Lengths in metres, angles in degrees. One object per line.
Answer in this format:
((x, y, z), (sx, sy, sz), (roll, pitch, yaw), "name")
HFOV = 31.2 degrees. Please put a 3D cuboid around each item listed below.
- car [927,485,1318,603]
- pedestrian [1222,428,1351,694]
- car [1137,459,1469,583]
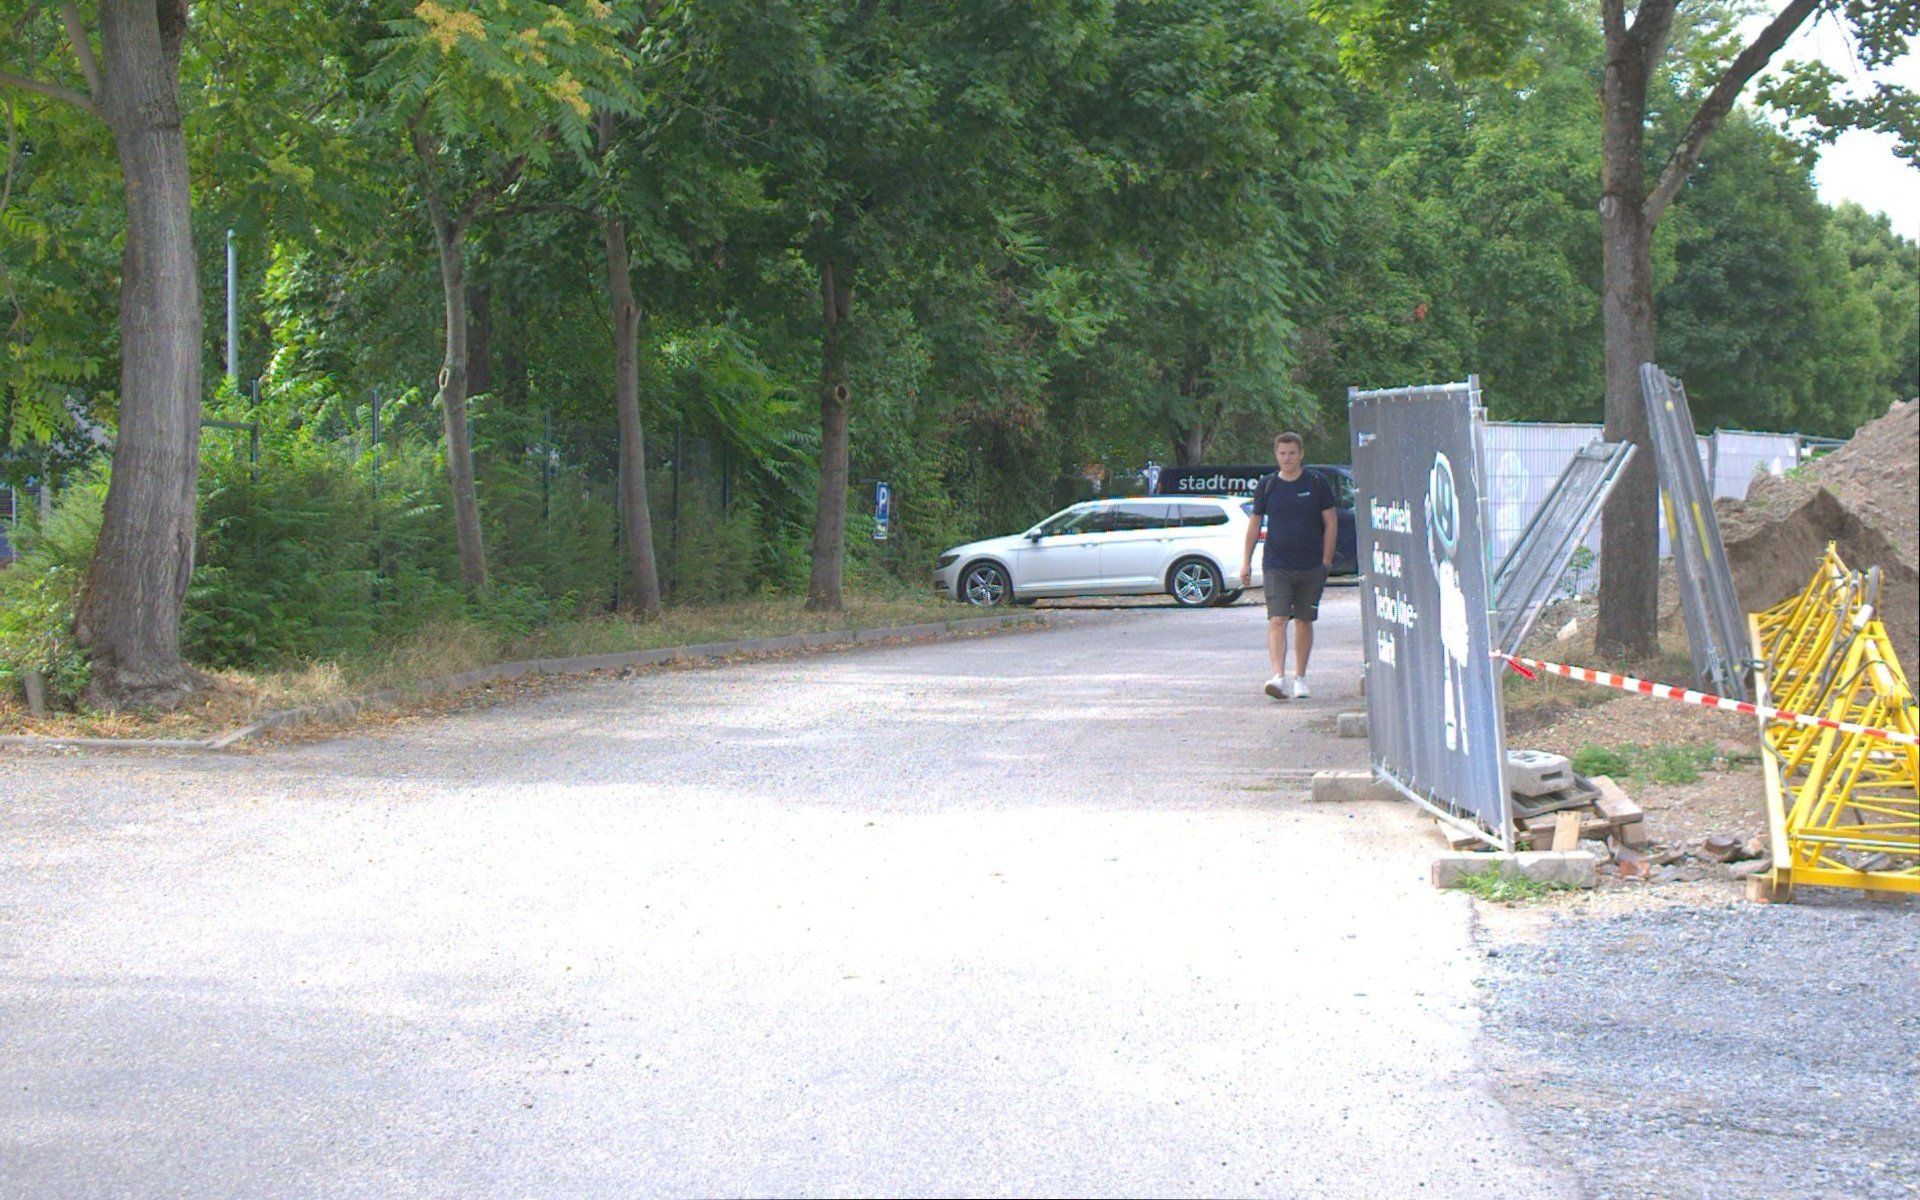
((2.153, -0.762, 45.152), (4.796, 1.483, 1.999), (1, 2, 16), "car")
((2.239, -0.273, 23.500), (0.748, 1.783, 0.730), (1, 2, 16), "pedestrian")
((5.596, -1.304, 56.053), (5.050, 1.946, 1.998), (1, 2, 20), "car")
